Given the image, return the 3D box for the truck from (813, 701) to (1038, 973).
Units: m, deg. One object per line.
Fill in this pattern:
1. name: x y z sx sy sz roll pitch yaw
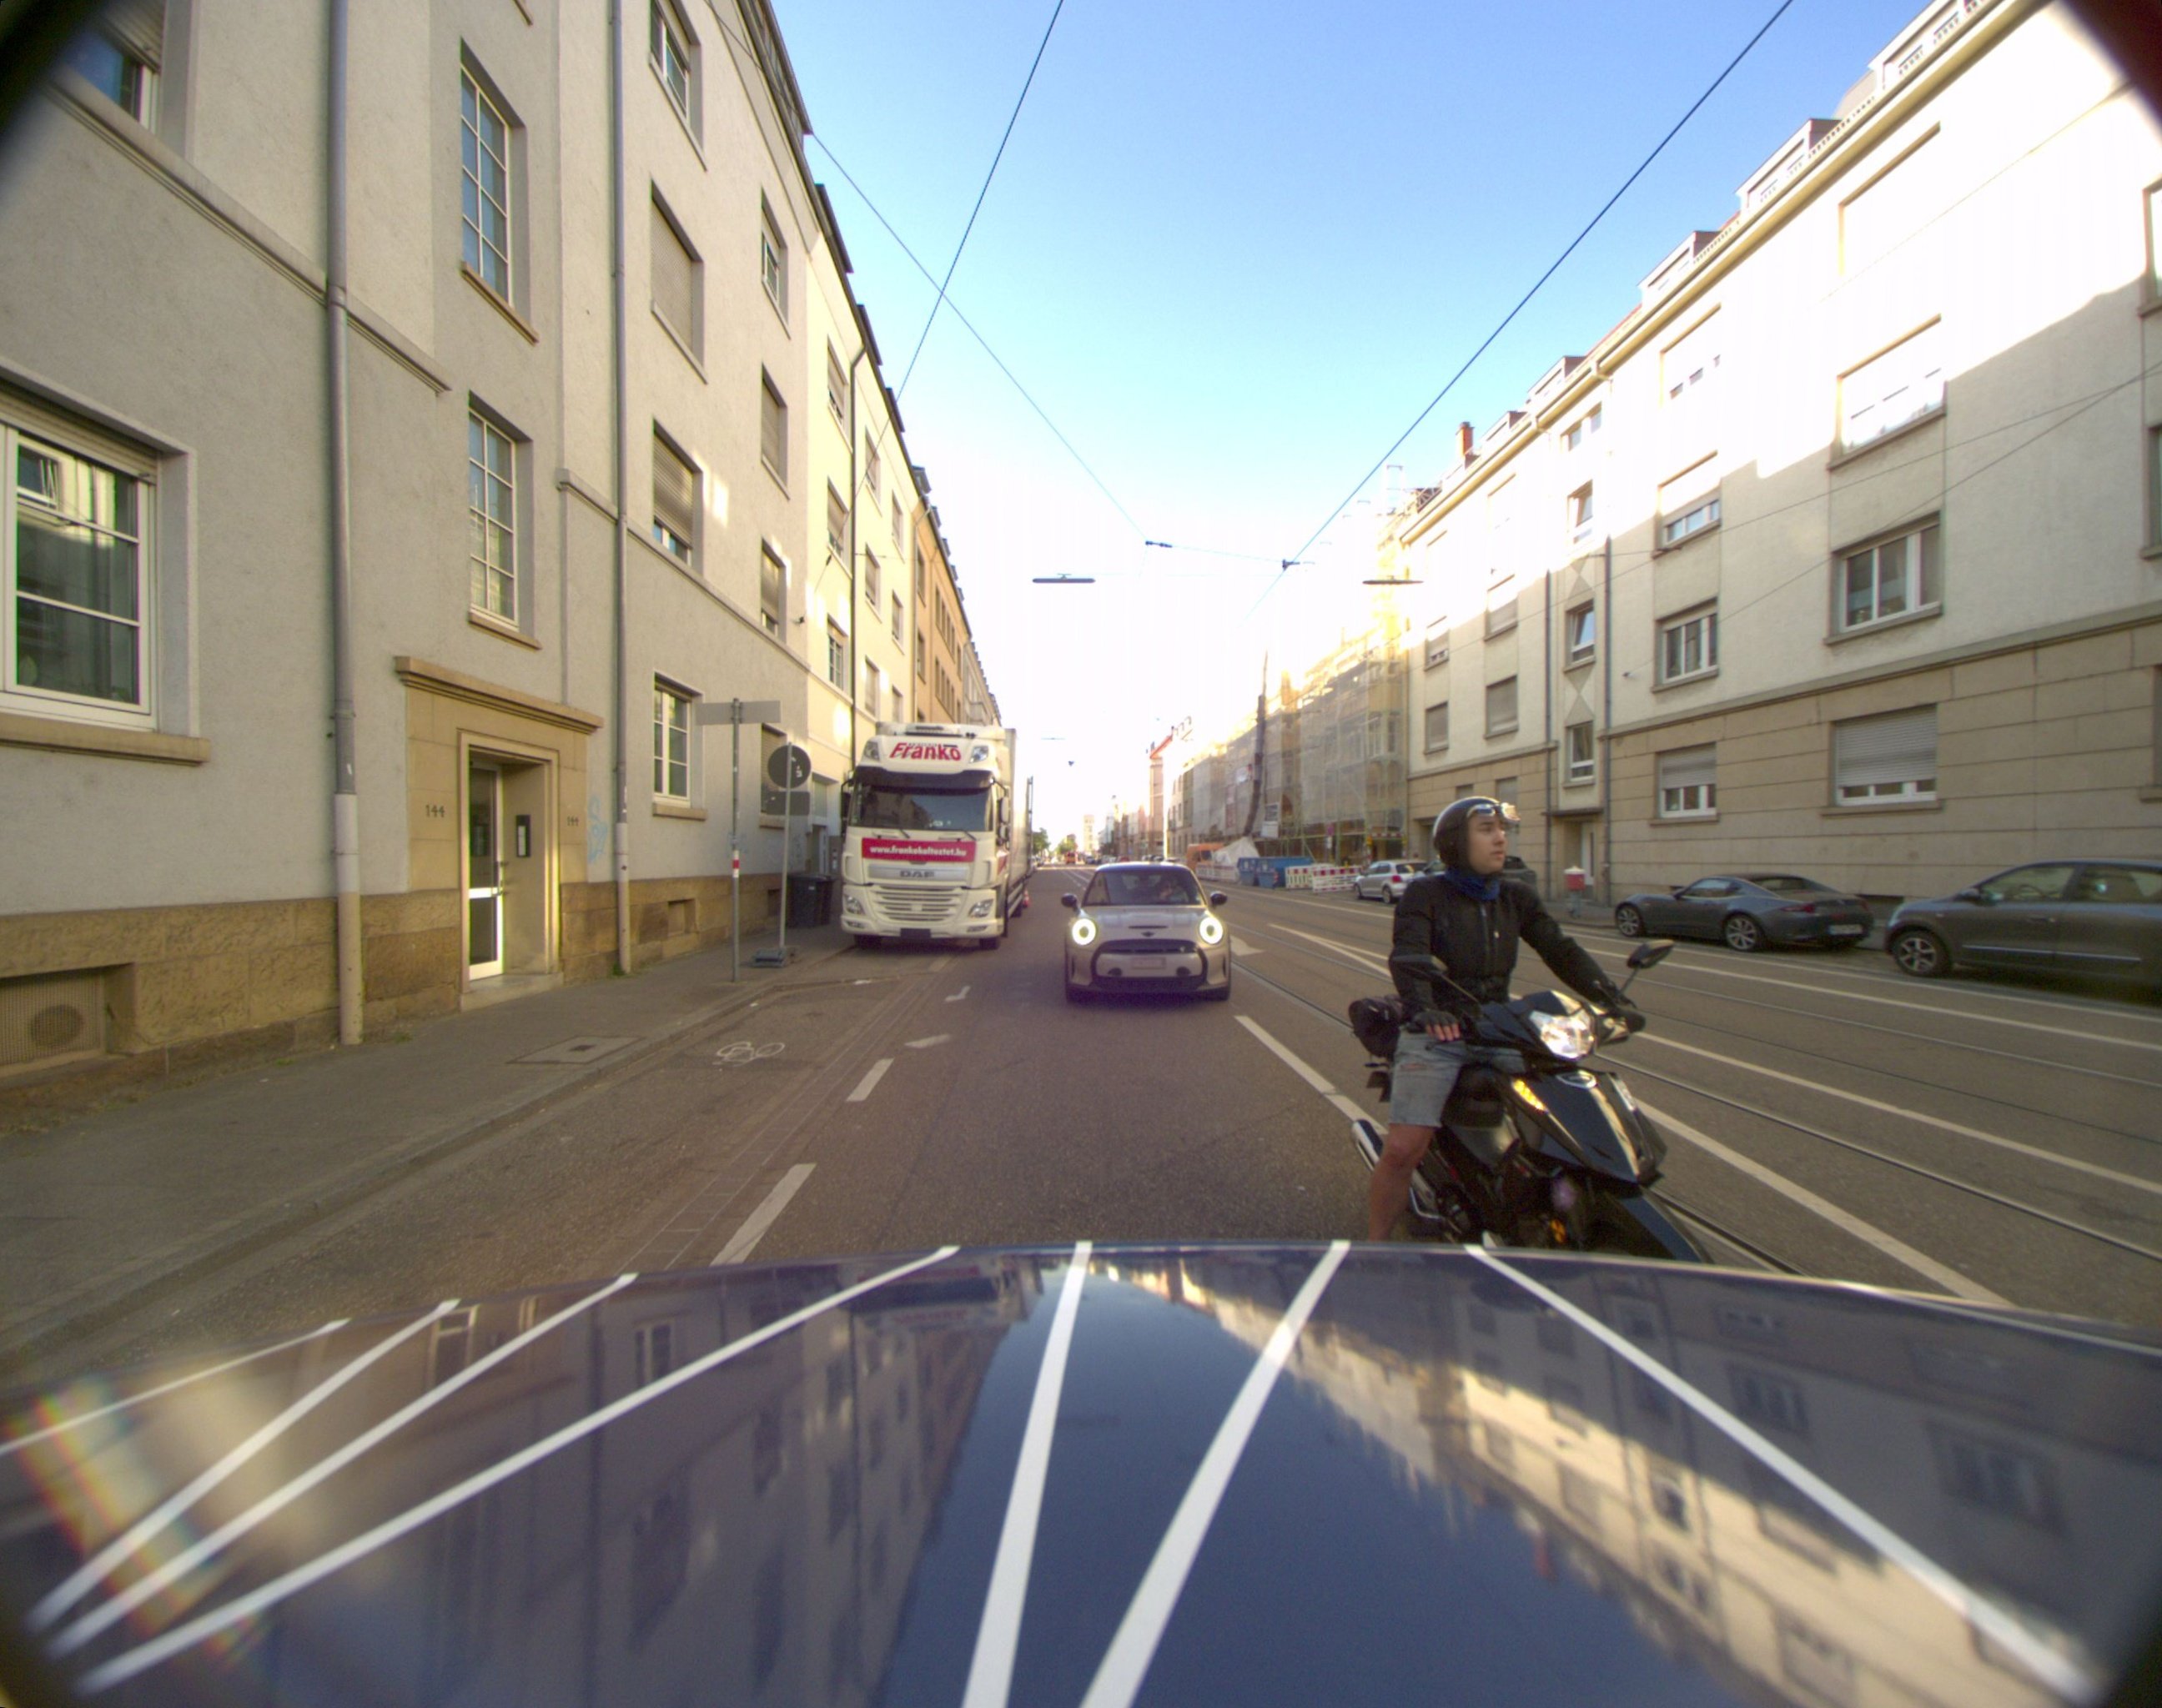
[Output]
1. truck: -2.629 -0.249 17.154 2.899 3.939 11.704 -2 0 -2

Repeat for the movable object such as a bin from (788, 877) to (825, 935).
1. movable object such as a bin: -5.400 1.011 14.969 0.512 1.085 0.495 -2 1 -4

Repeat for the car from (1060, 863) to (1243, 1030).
1. car: 0.652 0.885 9.056 1.692 1.495 4.000 0 0 0

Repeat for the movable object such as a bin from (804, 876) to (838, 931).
1. movable object such as a bin: -5.333 1.005 15.609 0.512 1.085 0.495 -2 1 -4

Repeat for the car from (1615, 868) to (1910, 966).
1. car: 11.247 0.957 12.900 1.751 1.269 3.488 -2 1 -4

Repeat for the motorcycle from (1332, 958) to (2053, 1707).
1. motorcycle: 1.344 1.068 2.247 0.538 1.212 1.981 -2 1 1

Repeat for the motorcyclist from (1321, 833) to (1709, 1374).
1. motorcyclist: 1.312 0.702 2.427 0.862 1.496 0.598 -2 1 1

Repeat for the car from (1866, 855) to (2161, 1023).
1. car: 11.408 0.840 8.441 1.670 1.563 3.496 -2 1 -2

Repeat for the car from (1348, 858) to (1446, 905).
1. car: 10.630 0.872 25.859 1.637 1.383 3.643 -2 1 -3

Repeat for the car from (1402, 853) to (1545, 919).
1. car: 10.818 0.815 21.314 1.712 1.582 4.112 -2 1 -3

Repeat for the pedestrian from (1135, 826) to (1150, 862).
1. pedestrian: 7.652 -1.281 94.471 1.723 4.377 1.153 -2 1 2
